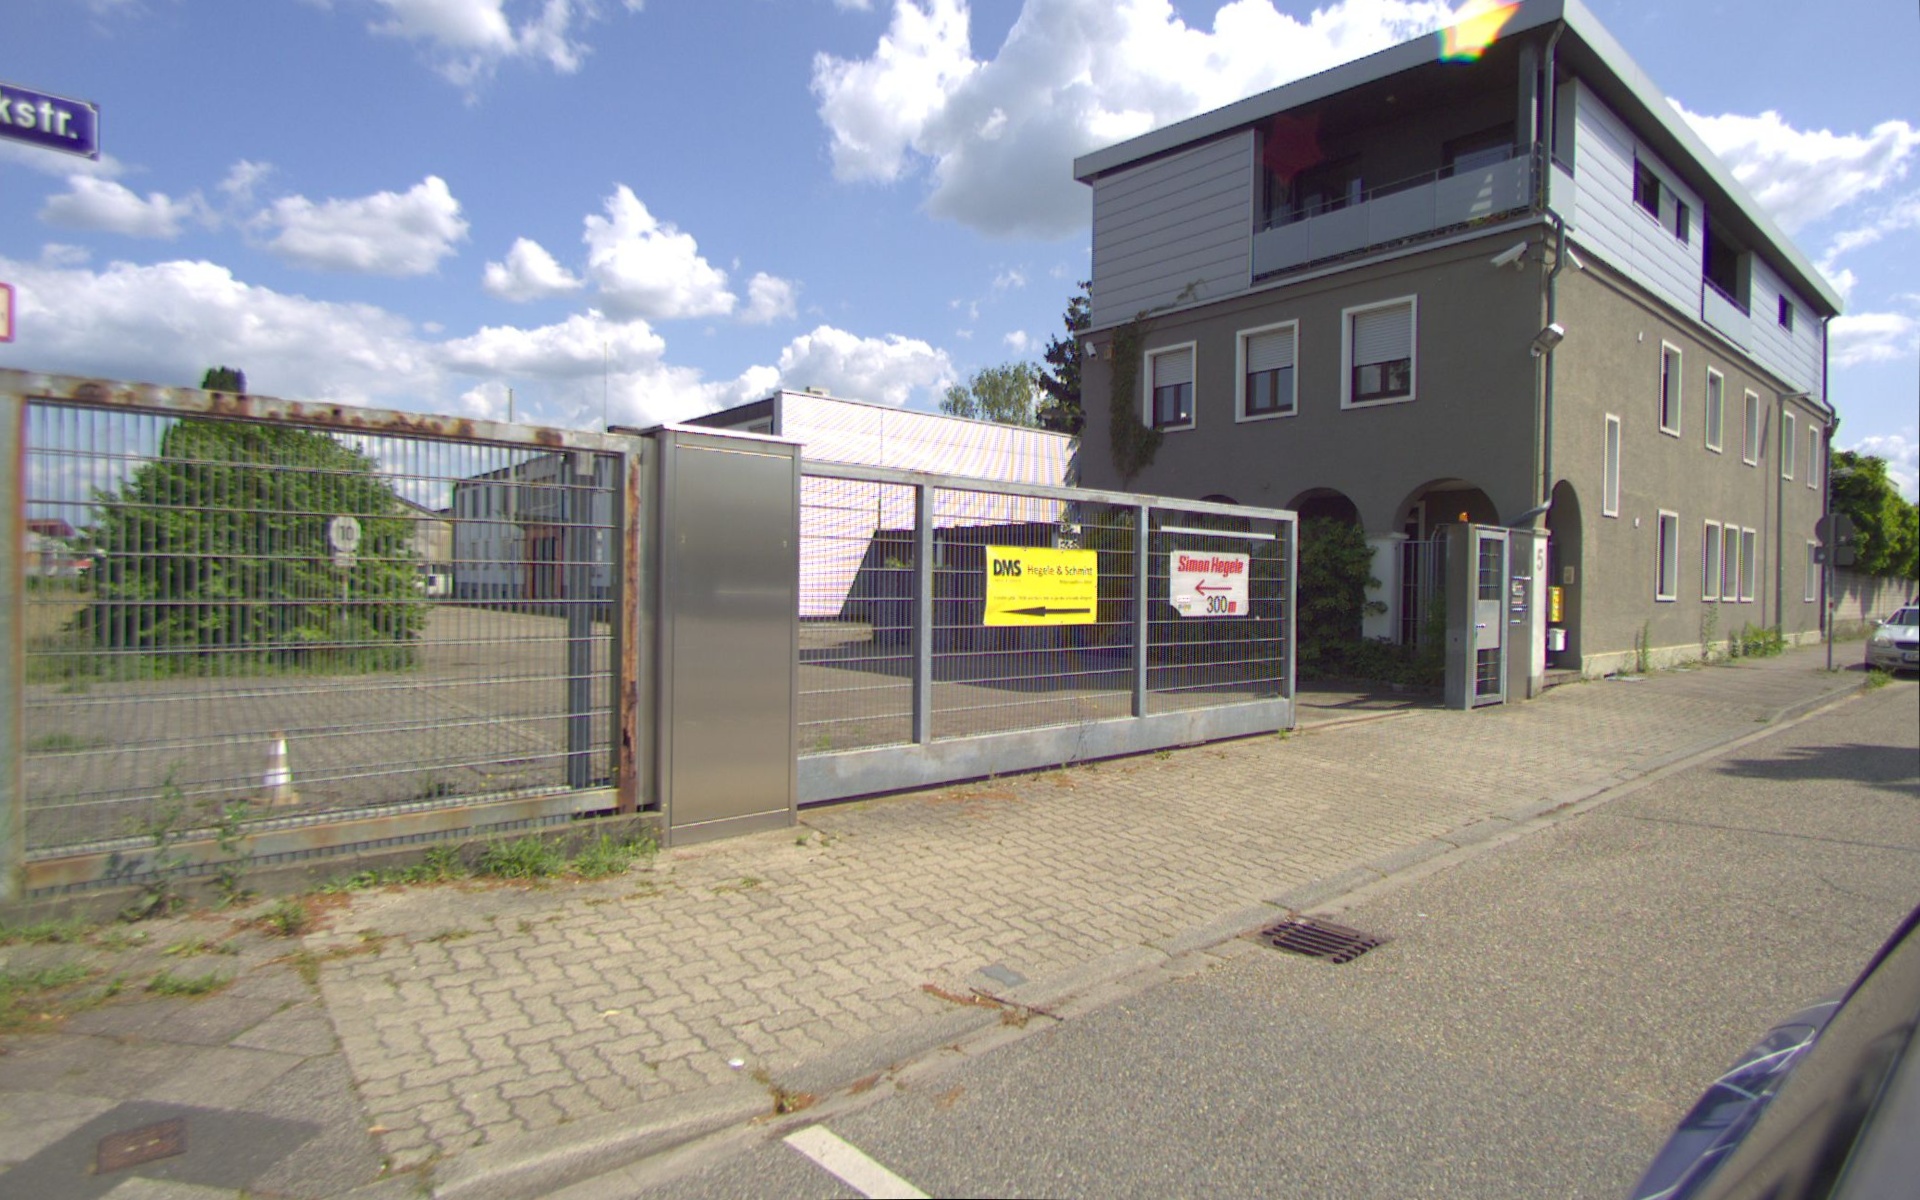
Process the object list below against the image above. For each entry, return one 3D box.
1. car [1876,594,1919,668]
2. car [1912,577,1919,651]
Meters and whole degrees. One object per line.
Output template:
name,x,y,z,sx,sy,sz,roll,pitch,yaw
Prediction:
car,19.201,0.568,19.675,3.931,1.349,1.656,0,1,-42
car,24.136,0.328,23.998,3.932,1.708,1.996,0,1,-43
